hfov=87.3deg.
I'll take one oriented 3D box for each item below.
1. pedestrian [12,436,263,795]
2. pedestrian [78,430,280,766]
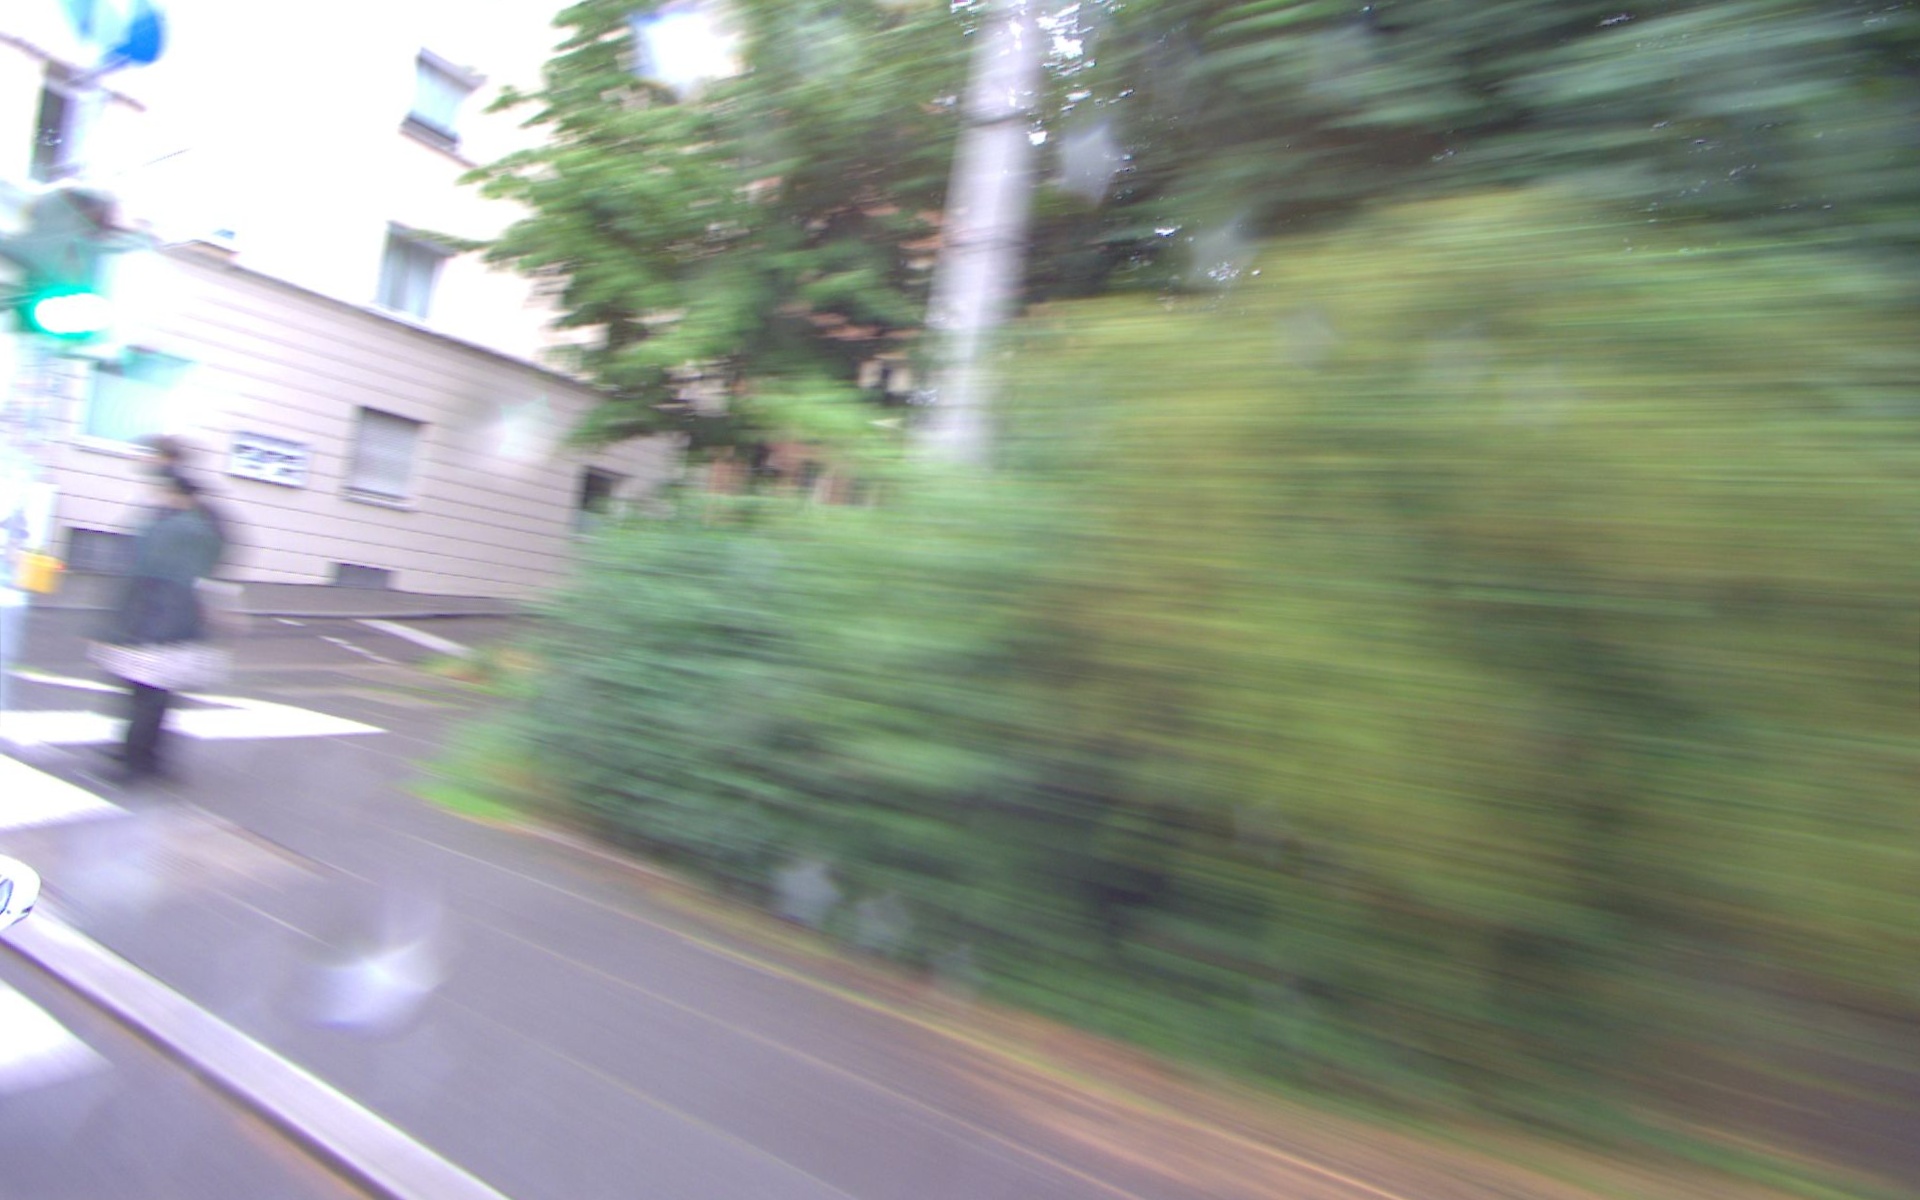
[{"bbox_3d":[-4.237,0.084,5.207,0.546,1.714,0.696,7,-1,33],"label":"pedestrian"},{"bbox_3d":[-4.534,-0.013,5.850,0.640,1.834,0.554,7,-1,33],"label":"pedestrian"}]
